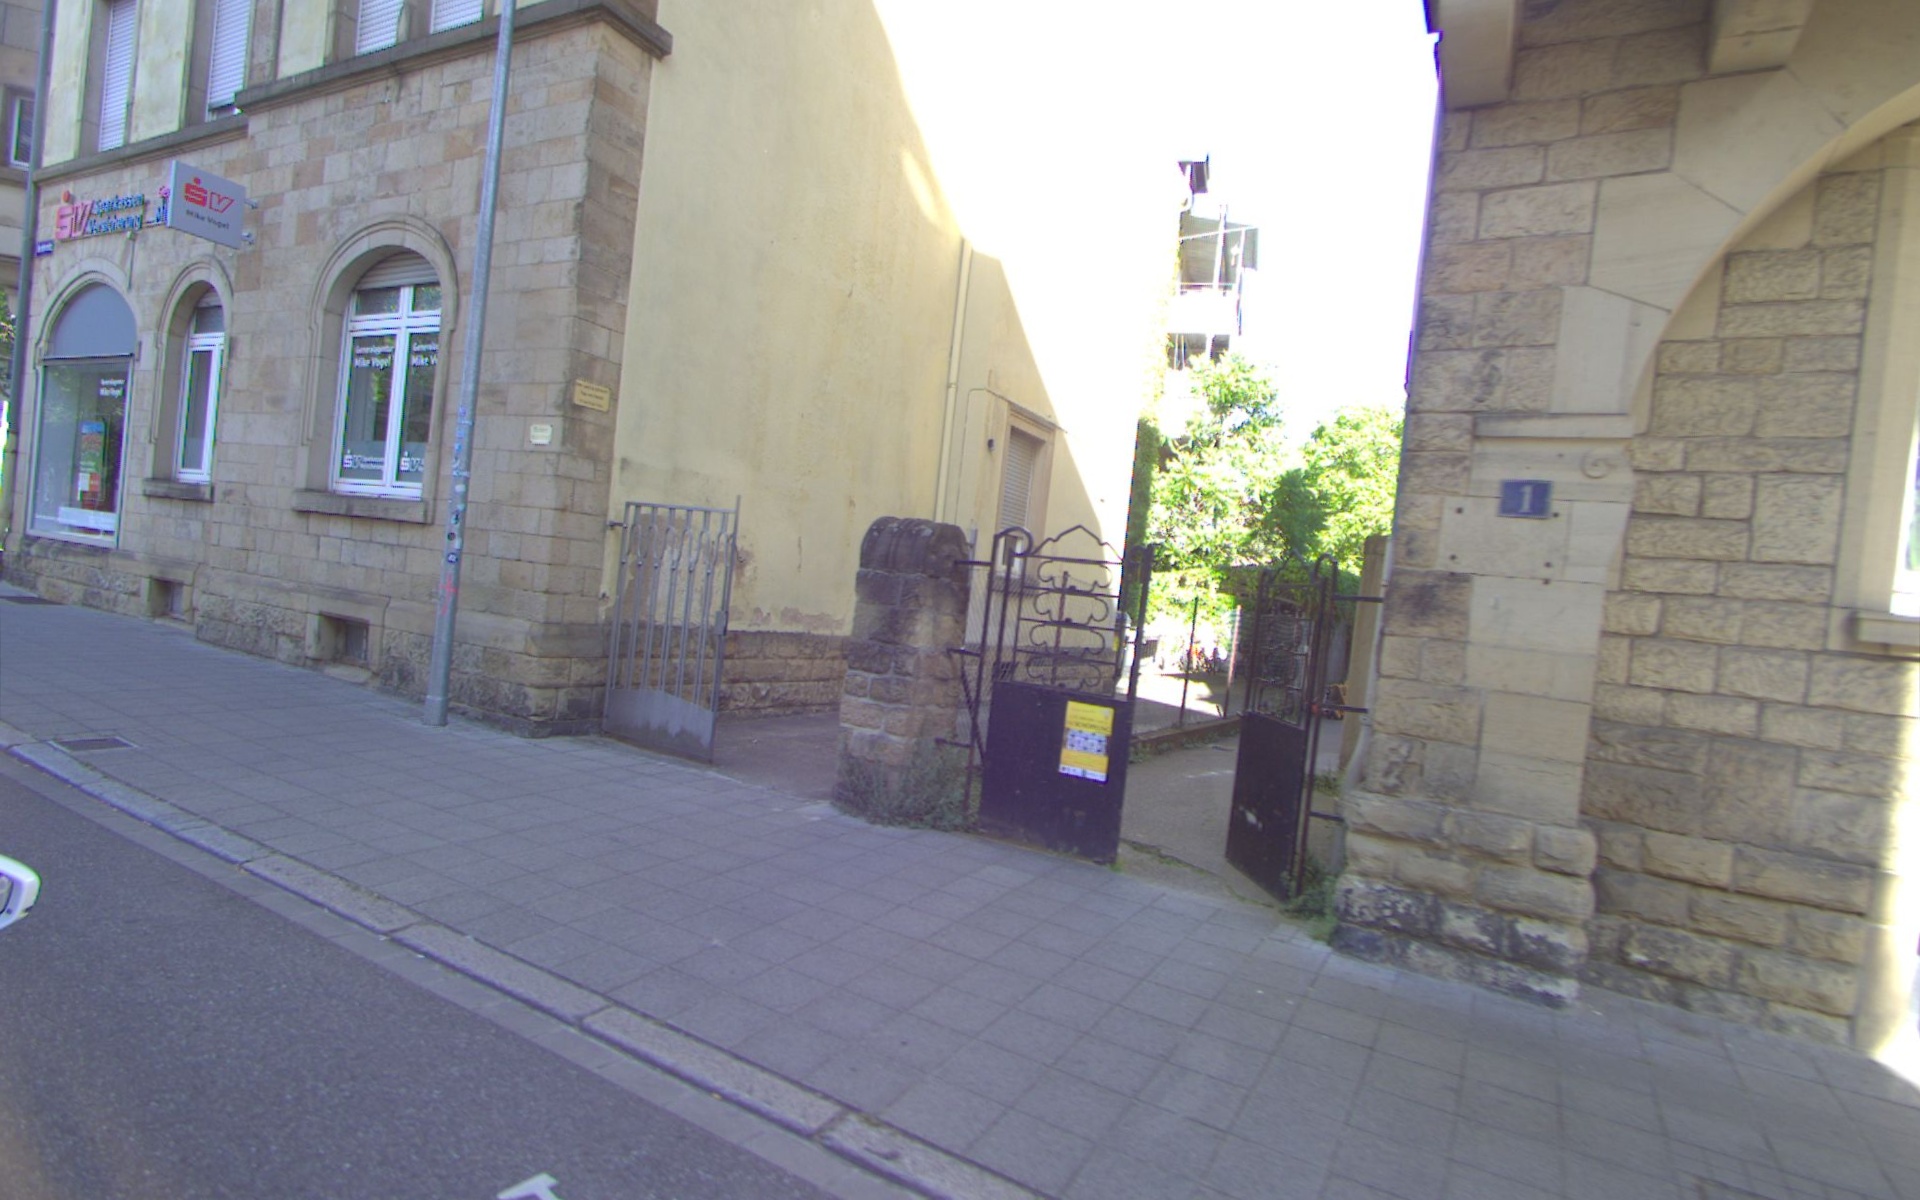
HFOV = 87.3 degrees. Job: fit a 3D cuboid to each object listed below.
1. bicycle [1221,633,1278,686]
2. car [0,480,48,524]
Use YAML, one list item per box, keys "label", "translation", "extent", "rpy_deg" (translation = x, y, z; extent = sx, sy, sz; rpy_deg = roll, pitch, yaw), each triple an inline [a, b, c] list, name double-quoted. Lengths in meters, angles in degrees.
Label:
- label: "bicycle"
  translation: [7.669, 1.553, 26.825]
  extent: [0.860, 1.180, 2.659]
  rpy_deg: [7, 1, 5]
- label: "car"
  translation: [-36.199, -3.768, 36.913]
  extent: [1.598, 1.491, 3.800]
  rpy_deg: [7, 1, 11]
